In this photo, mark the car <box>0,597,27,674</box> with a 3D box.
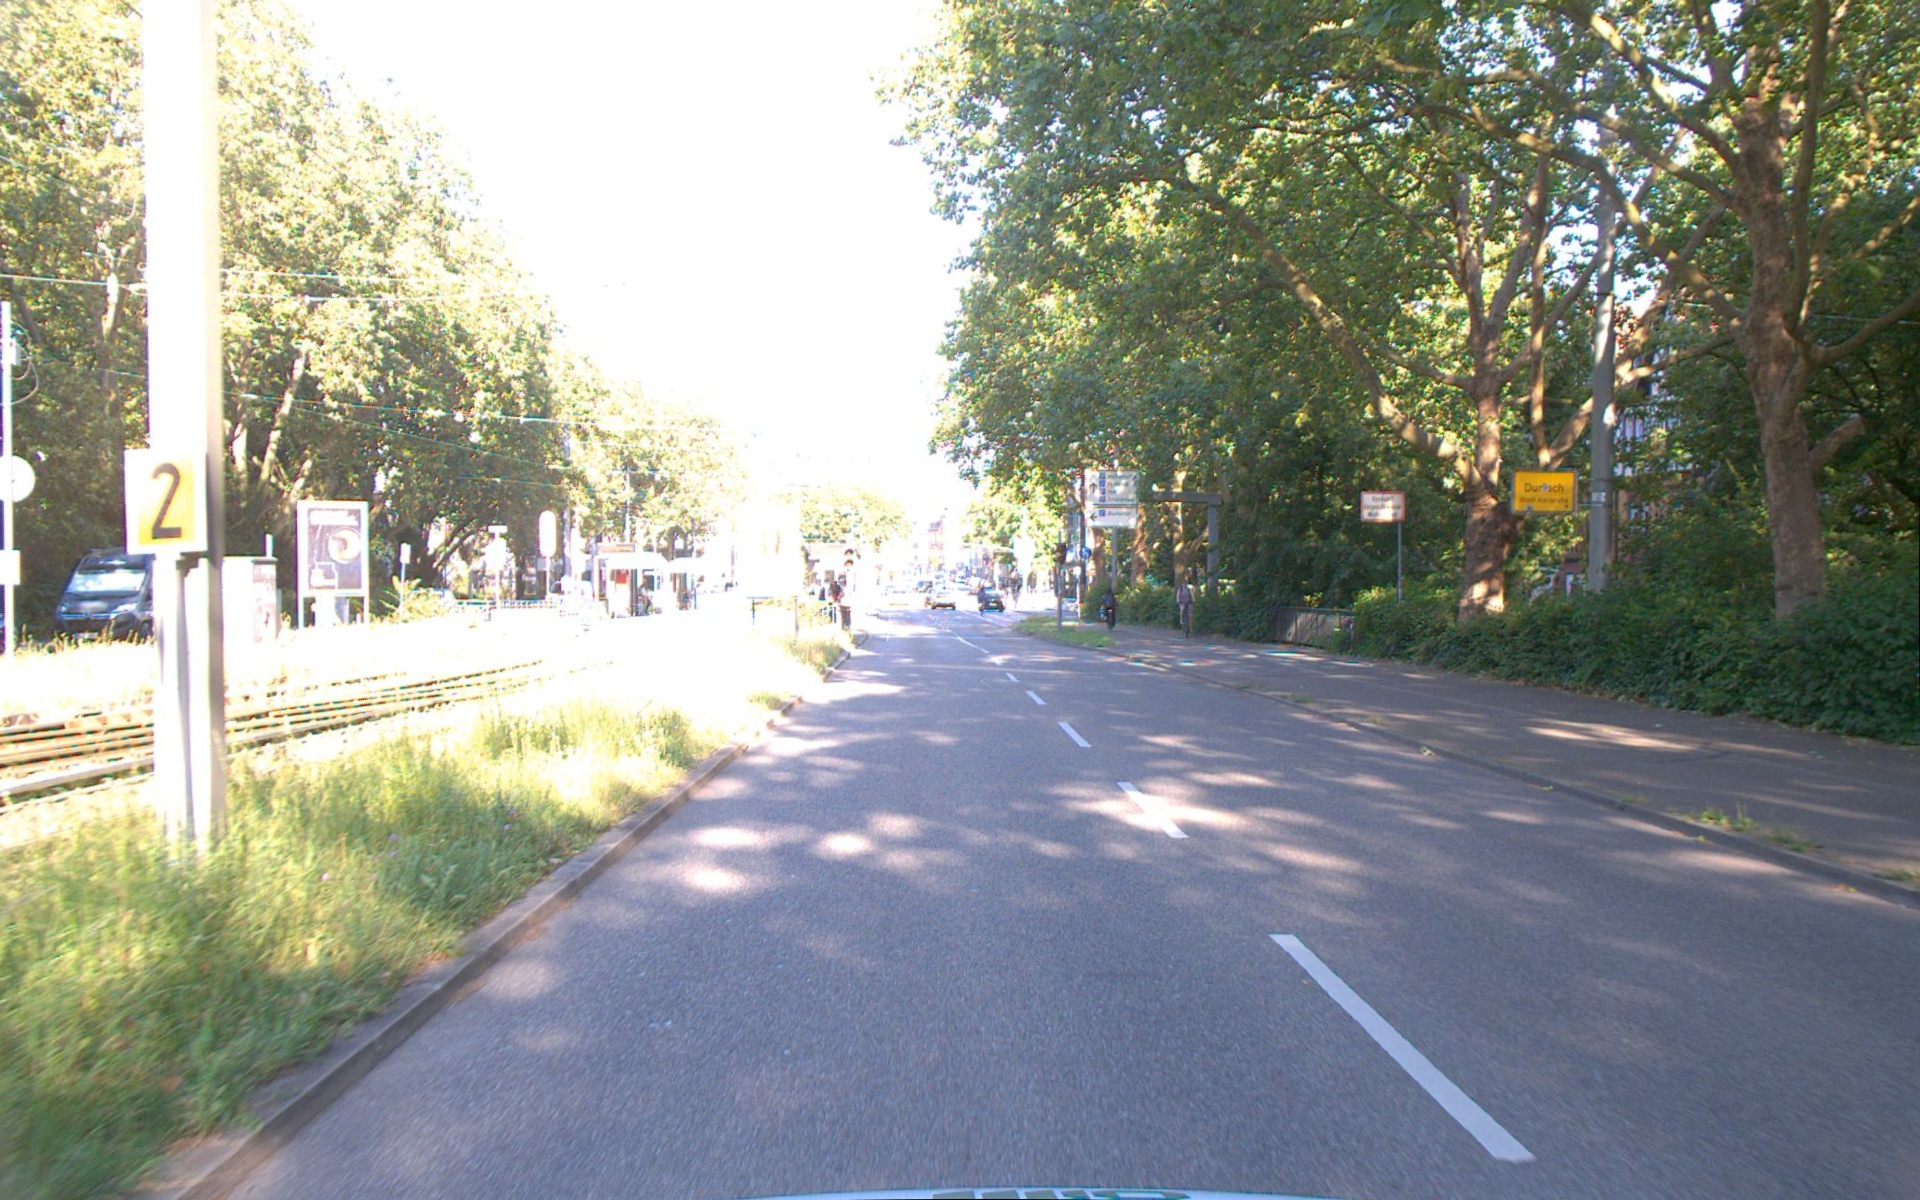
[{"bbox_3d":[-20.082,0.740,32.689,1.620,1.539,3.262,-2,0,-6],"label":"car"}]

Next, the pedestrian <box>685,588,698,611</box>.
[{"bbox_3d":[-16.326,-0.055,100.484,0.656,1.347,0.756,-3,0,-5],"label":"pedestrian"}]

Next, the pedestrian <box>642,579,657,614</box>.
[{"bbox_3d":[-15.884,-0.180,84.623,0.635,1.803,0.650,1,-1,0],"label":"pedestrian"}]

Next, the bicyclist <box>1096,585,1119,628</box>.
[{"bbox_3d":[5.337,0.229,59.879,0.751,1.539,0.650,0,0,-3],"label":"bicyclist"}]

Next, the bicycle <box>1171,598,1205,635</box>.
[{"bbox_3d":[7.033,0.501,51.091,0.685,1.127,1.928,0,0,-4],"label":"bicycle"}]

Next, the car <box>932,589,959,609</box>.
[{"bbox_3d":[-1.134,-0.109,128.769,1.890,1.498,4.852,1,0,-3],"label":"car"}]

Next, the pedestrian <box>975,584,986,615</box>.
[{"bbox_3d":[1.256,-0.025,103.612,0.644,1.903,0.677,0,0,-3],"label":"pedestrian"}]

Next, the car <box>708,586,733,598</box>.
[{"bbox_3d":[-31.499,-1.085,217.215,1.756,1.536,4.013,0,0,16],"label":"car"}]

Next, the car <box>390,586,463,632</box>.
[{"bbox_3d":[-20.961,0.357,65.107,1.866,1.680,3.968,-2,0,-6],"label":"car"}]

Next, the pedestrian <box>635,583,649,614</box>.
[{"bbox_3d":[-16.112,-0.074,83.905,0.581,1.571,0.626,1,-1,-2],"label":"pedestrian"}]

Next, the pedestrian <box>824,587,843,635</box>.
[{"bbox_3d":[-4.212,0.365,55.044,0.578,1.546,0.514,-2,0,-2],"label":"pedestrian"}]

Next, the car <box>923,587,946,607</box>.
[{"bbox_3d":[-2.119,-0.262,136.101,1.764,1.666,4.043,1,0,-3],"label":"car"}]

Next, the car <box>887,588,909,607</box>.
[{"bbox_3d":[-5.173,-0.214,137.644,1.772,1.478,3.997,1,0,-3],"label":"car"}]

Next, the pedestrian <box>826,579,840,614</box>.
[{"bbox_3d":[-5.987,-0.165,77.992,0.576,1.594,0.650,2,0,-2],"label":"pedestrian"}]

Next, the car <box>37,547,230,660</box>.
[{"bbox_3d":[-20.572,0.089,41.521,2.140,2.565,6.027,-2,0,-4],"label":"car"}]

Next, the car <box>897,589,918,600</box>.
[{"bbox_3d":[-7.562,-0.769,238.590,1.756,1.537,4.003,0,0,16],"label":"car"}]

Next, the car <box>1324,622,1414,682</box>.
[{"bbox_3d":[13.912,1.739,56.486,1.865,1.844,4.097,1,0,-3],"label":"car"}]

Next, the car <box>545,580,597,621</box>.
[{"bbox_3d":[-22.064,0.036,93.979,2.026,2.161,5.085,-2,0,-4],"label":"car"}]

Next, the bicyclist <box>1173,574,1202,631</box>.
[{"bbox_3d":[7.035,0.067,51.096,0.685,1.758,1.079,0,0,-4],"label":"bicyclist"}]

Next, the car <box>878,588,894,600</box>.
[{"bbox_3d":[-10.310,-0.823,230.391,1.756,1.537,4.002,0,0,4],"label":"car"}]

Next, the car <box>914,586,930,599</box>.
[{"bbox_3d":[-5.662,-1.167,246.122,1.756,1.858,4.003,0,0,8],"label":"car"}]

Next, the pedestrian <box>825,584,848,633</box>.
[{"bbox_3d":[-4.049,0.287,54.348,0.510,1.595,0.507,-2,0,27],"label":"pedestrian"}]

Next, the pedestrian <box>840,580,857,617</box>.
[{"bbox_3d":[-5.263,-0.074,78.191,0.727,1.724,0.791,2,0,-2],"label":"pedestrian"}]

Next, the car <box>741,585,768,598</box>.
[{"bbox_3d":[-26.655,-1.107,214.726,1.881,1.677,4.182,0,0,18],"label":"car"}]

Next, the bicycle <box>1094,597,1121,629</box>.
[{"bbox_3d":[5.333,0.466,59.958,0.751,1.127,1.799,0,0,-3],"label":"bicycle"}]

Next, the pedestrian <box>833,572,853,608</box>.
[{"bbox_3d":[-5.876,-0.508,82.999,0.647,1.752,0.701,2,0,-38],"label":"pedestrian"}]

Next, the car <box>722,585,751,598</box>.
[{"bbox_3d":[-29.092,-1.110,215.315,1.759,1.677,4.006,0,1,26],"label":"car"}]

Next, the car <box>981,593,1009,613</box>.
[{"bbox_3d":[2.599,0.206,123.991,1.764,1.464,4.043,2,0,-3],"label":"car"}]

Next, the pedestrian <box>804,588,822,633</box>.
[{"bbox_3d":[-4.952,0.356,55.637,0.509,1.498,0.514,-2,0,-2],"label":"pedestrian"}]

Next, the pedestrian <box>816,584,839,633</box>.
[{"bbox_3d":[-4.307,0.278,53.929,0.510,1.595,0.507,-2,0,27],"label":"pedestrian"}]

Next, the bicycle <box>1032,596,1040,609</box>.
[{"bbox_3d":[6.414,0.212,139.608,0.488,1.093,1.799,1,0,-3],"label":"bicycle"}]

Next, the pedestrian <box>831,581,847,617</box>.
[{"bbox_3d":[-6.225,-0.052,85.342,0.637,1.873,0.711,1,0,7],"label":"pedestrian"}]
